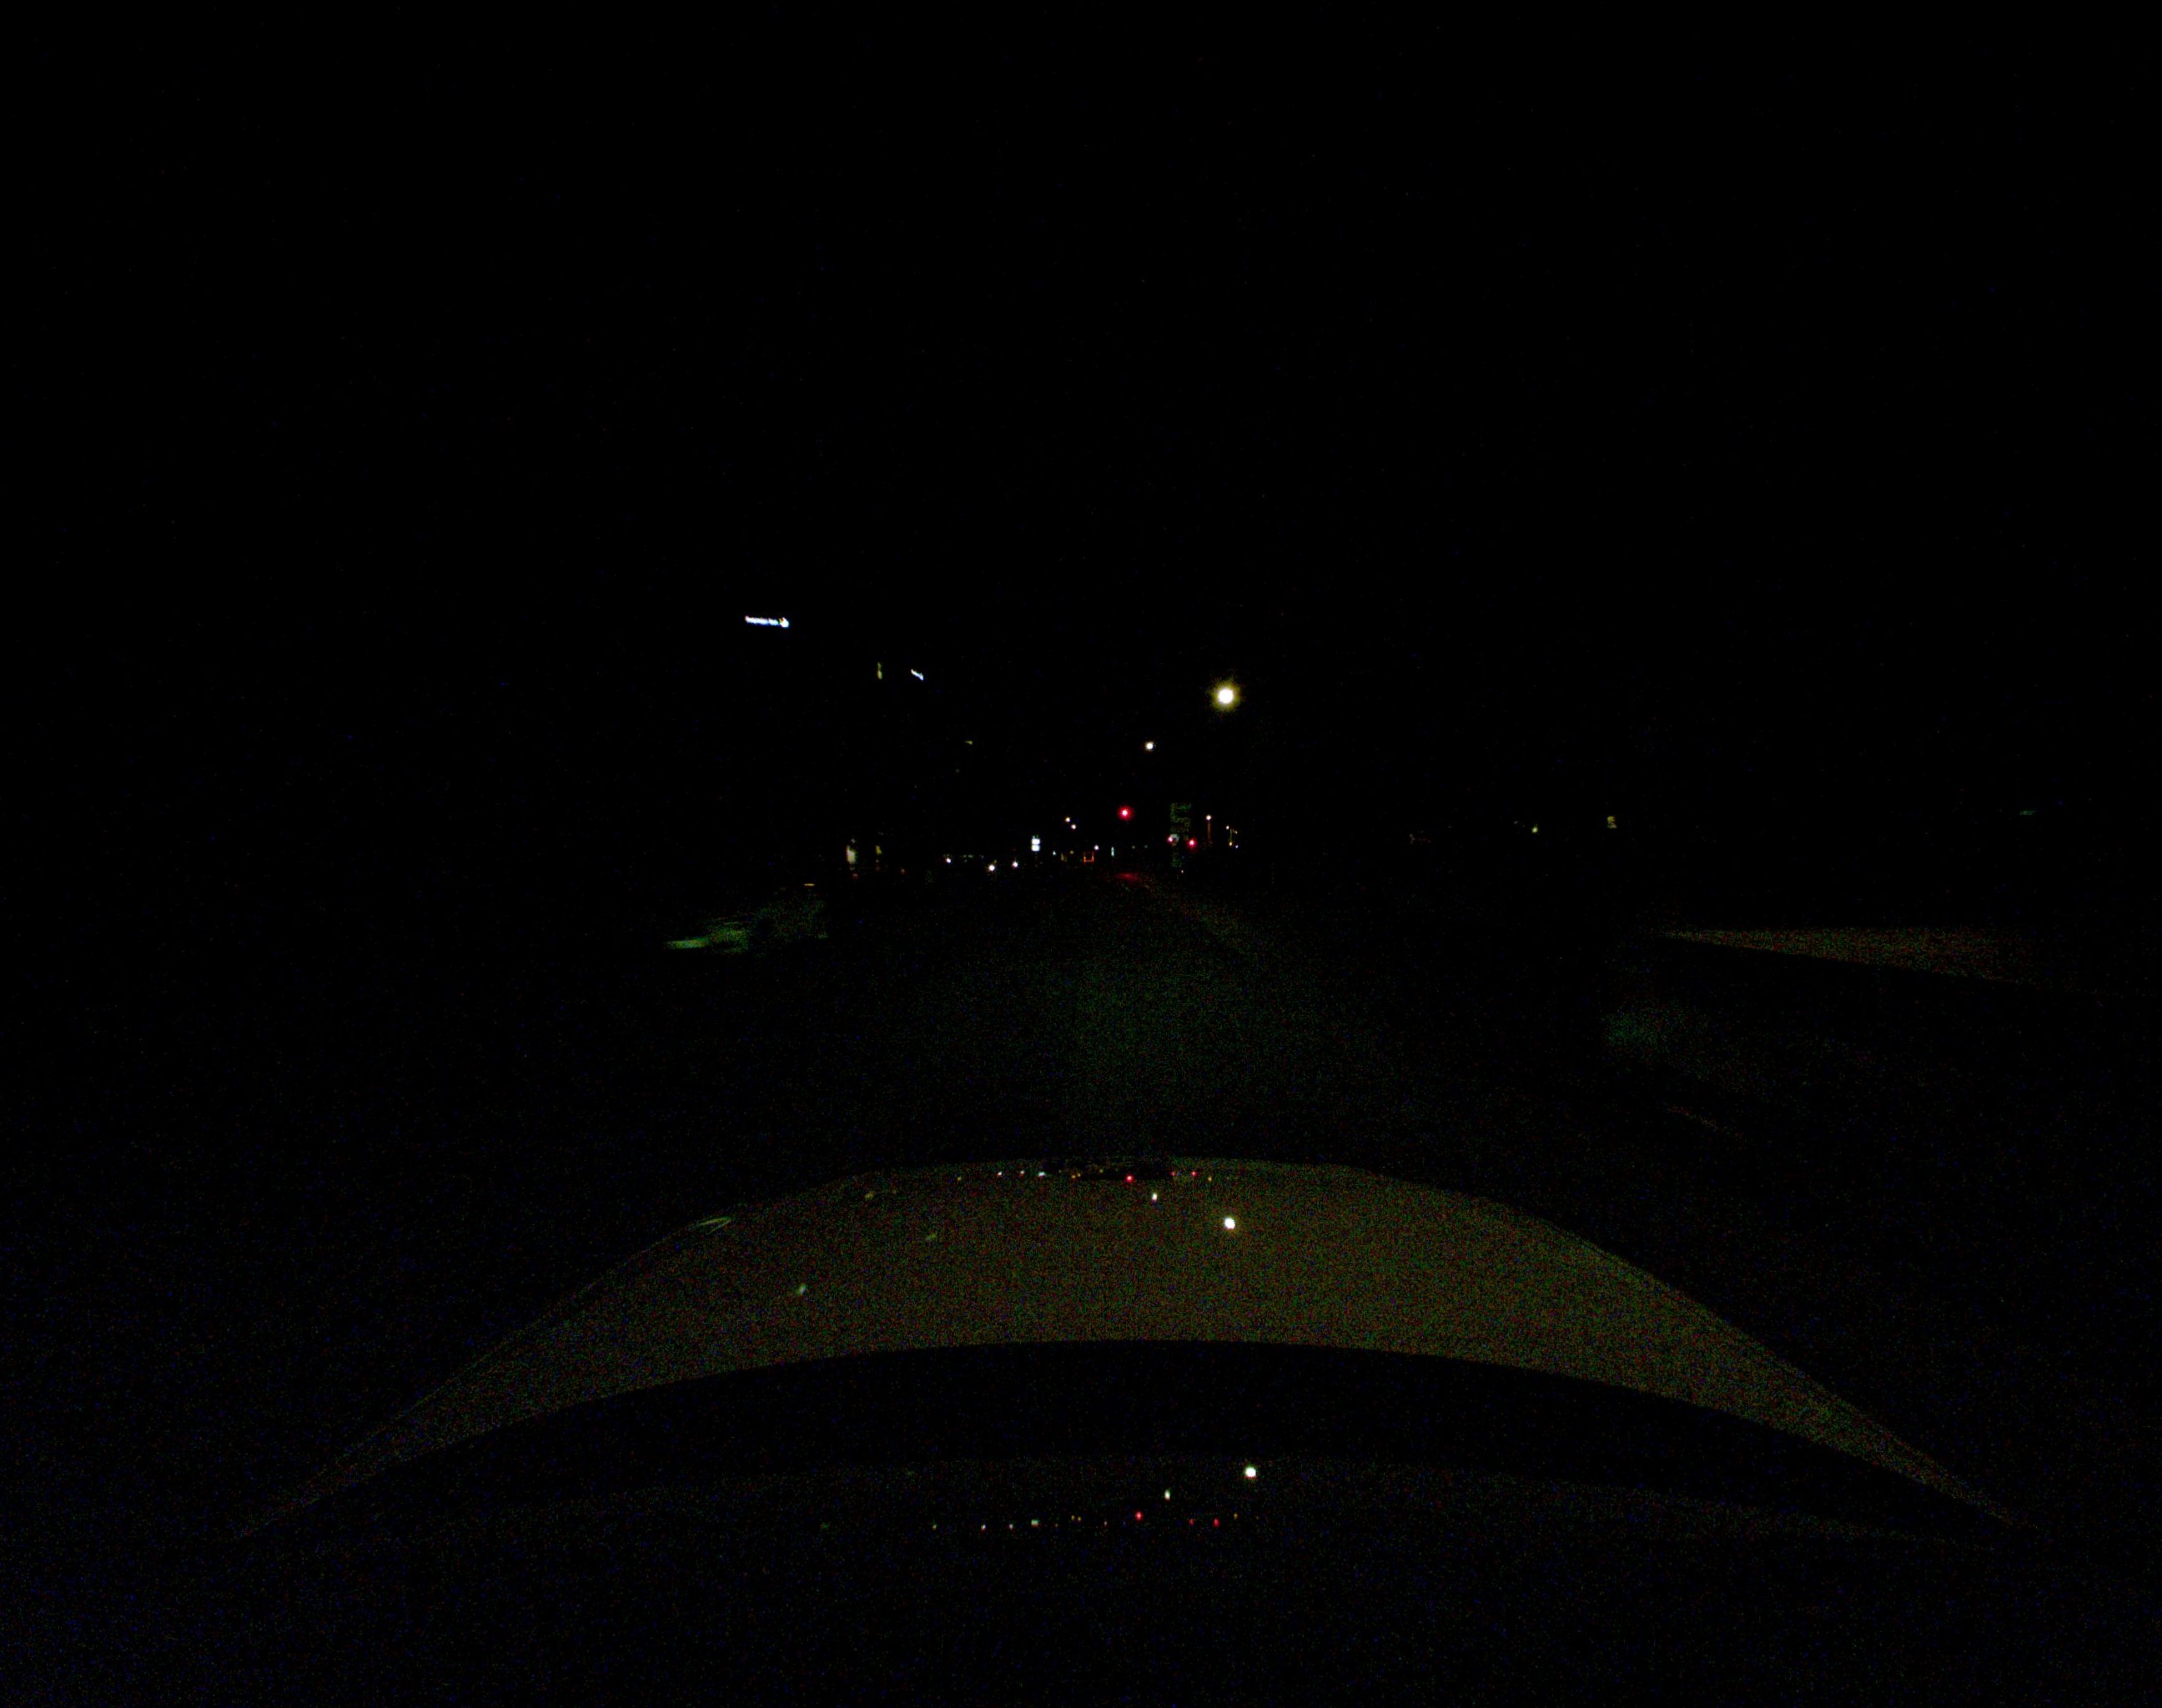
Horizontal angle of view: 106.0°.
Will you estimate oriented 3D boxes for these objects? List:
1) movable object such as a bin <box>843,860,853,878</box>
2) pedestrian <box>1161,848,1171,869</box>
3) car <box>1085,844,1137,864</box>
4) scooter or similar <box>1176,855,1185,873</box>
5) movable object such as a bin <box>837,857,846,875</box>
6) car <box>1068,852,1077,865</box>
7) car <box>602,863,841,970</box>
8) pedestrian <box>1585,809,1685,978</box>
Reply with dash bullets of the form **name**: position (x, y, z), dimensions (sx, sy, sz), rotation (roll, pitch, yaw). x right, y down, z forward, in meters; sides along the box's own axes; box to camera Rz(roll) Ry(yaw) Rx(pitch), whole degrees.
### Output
- **movable object such as a bin**: position (-18.839, 1.205, 65.763), dimensions (0.438, 1.451, 0.810), rotation (-2, 1, 5)
- **pedestrian**: position (7.862, 0.423, 75.160), dimensions (0.738, 1.982, 0.622), rotation (-1, 0, -15)
- **car**: position (7.580, 0.003, 208.461), dimensions (12.395, 4.709, 4.789), rotation (-1, 0, -13)
- **scooter or similar**: position (7.118, 0.696, 58.275), dimensions (0.492, 1.262, 1.321), rotation (-3, 0, 3)
- **movable object such as a bin**: position (-19.083, 0.932, 64.874), dimensions (0.354, 1.370, 0.733), rotation (-2, 3, 3)
- **car**: position (-2.123, 1.114, 196.048), dimensions (1.989, 2.974, 3.995), rotation (-1, 0, -4)
- **car**: position (-5.734, 0.908, 13.692), dimensions (1.904, 1.404, 4.340), rotation (-2, 0, 2)
- **pedestrian**: position (6.371, 0.434, 9.404), dimensions (0.568, 1.852, 0.820), rotation (-1, 0, 2)
